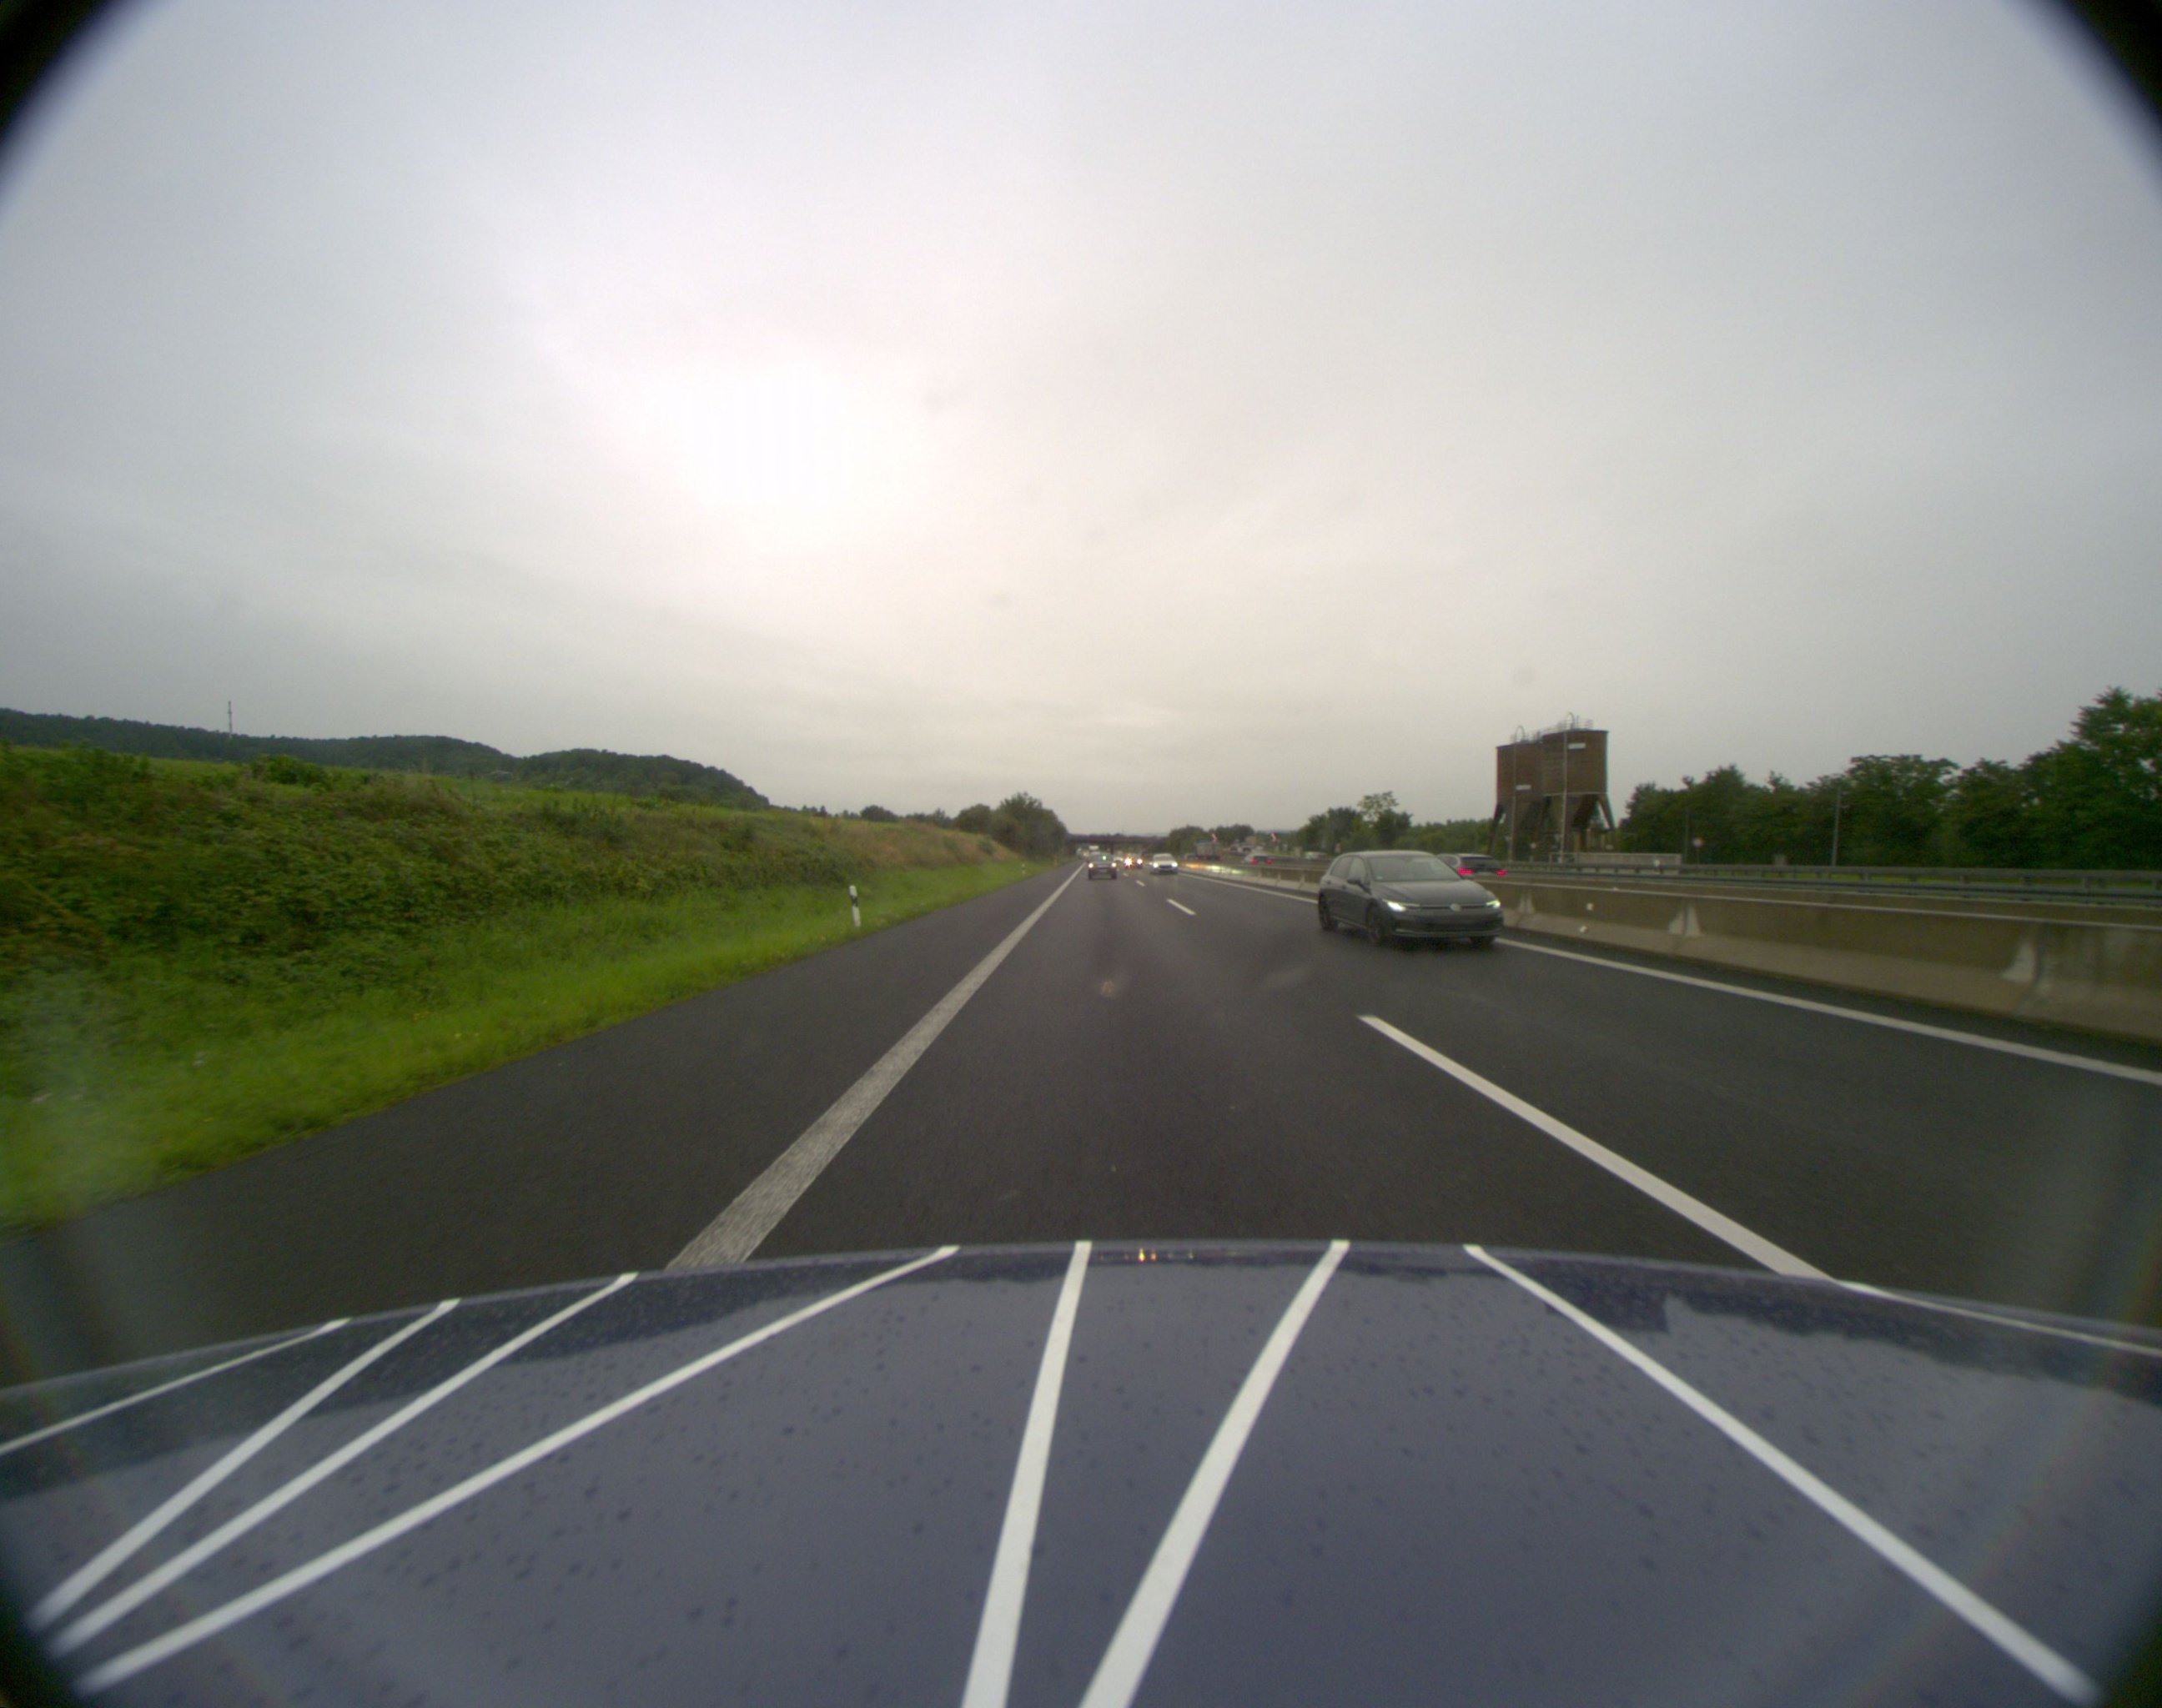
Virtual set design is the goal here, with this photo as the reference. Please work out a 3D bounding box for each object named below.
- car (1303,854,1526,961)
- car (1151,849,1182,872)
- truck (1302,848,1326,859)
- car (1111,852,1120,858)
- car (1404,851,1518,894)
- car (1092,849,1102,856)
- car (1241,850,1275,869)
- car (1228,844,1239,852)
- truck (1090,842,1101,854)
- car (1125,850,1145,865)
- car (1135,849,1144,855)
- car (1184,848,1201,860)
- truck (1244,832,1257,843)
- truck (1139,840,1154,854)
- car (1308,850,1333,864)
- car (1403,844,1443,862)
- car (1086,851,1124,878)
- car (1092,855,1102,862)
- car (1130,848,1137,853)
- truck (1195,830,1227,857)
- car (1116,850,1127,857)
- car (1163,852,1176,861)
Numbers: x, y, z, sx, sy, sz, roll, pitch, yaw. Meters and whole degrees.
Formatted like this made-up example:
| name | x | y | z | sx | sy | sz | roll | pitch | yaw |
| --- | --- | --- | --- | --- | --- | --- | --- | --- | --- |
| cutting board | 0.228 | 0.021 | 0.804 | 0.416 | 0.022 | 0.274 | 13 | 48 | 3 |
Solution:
| name | x | y | z | sx | sy | sz | roll | pitch | yaw |
| --- | --- | --- | --- | --- | --- | --- | --- | --- | --- |
| car | 5.308 | 0.746 | 12.814 | 1.835 | 1.417 | 4.367 | -2 | 0 | 0 |
| car | 6.328 | 0.478 | 56.605 | 1.998 | 1.582 | 4.817 | -2 | 0 | 3 |
| truck | 36.043 | -0.046 | 117.780 | 1.999 | 1.636 | 5.405 | -3 | 0 | -1 |
| car | 7.838 | 0.220 | 174.805 | 1.941 | 1.341 | 4.000 | -3 | 0 | 1 |
| car | 13.366 | 0.611 | 27.057 | 1.861 | 1.383 | 4.444 | -1 | 0 | 0 |
| car | 3.362 | -0.338 | 159.848 | 1.941 | 1.341 | 4.000 | -3 | 0 | 1 |
| car | 14.209 | 0.414 | 61.218 | 1.802 | 1.499 | 4.000 | 0 | 0 | 1 |
| car | 39.456 | -1.655 | 196.759 | 2.075 | 2.002 | 4.550 | 0 | 0 | -1 |
| truck | 3.878 | -1.693 | 207.417 | 2.728 | 3.098 | 7.960 | -3 | 0 | 1 |
| car | 5.562 | 0.339 | 78.101 | 1.835 | 1.417 | 4.368 | -2 | 0 | 2 |
| car | 16.562 | -0.657 | 215.346 | 1.911 | 1.649 | 3.999 | -1 | 0 | -1 |
| car | 14.891 | 0.024 | 101.273 | 1.717 | 1.586 | 4.000 | -1 | 0 | 1 |
| truck | 53.110 | -5.037 | 238.179 | 3.252 | 3.197 | 7.606 | -2 | 0 | 6 |
| truck | 22.817 | -2.451 | 264.491 | 3.787 | 4.451 | 12.891 | -1 | 0 | -1 |
| car | 31.428 | 0.413 | 99.802 | 1.907 | 1.798 | 4.461 | -1 | 0 | 0 |
| car | 34.379 | -0.129 | 76.493 | 1.998 | 1.751 | 4.505 | -1 | 0 | 1 |
| car | 1.575 | 0.639 | 48.393 | 2.242 | 1.565 | 4.817 | -2 | 0 | 2 |
| car | 3.277 | 0.905 | 152.617 | 1.941 | 1.341 | 4.000 | -3 | 0 | 1 |
| car | 18.122 | -1.161 | 262.079 | 1.911 | 1.649 | 3.999 | -1 | 0 | -1 |
| truck | 19.373 | -1.498 | 114.020 | 2.976 | 3.689 | 11.909 | -2 | 0 | 1 |
| car | 7.769 | -0.062 | 147.306 | 1.941 | 1.341 | 4.001 | -3 | 0 | 2 |
| car | 15.761 | 0.400 | 135.606 | 1.785 | 1.622 | 3.999 | 0 | 0 | -1 |
